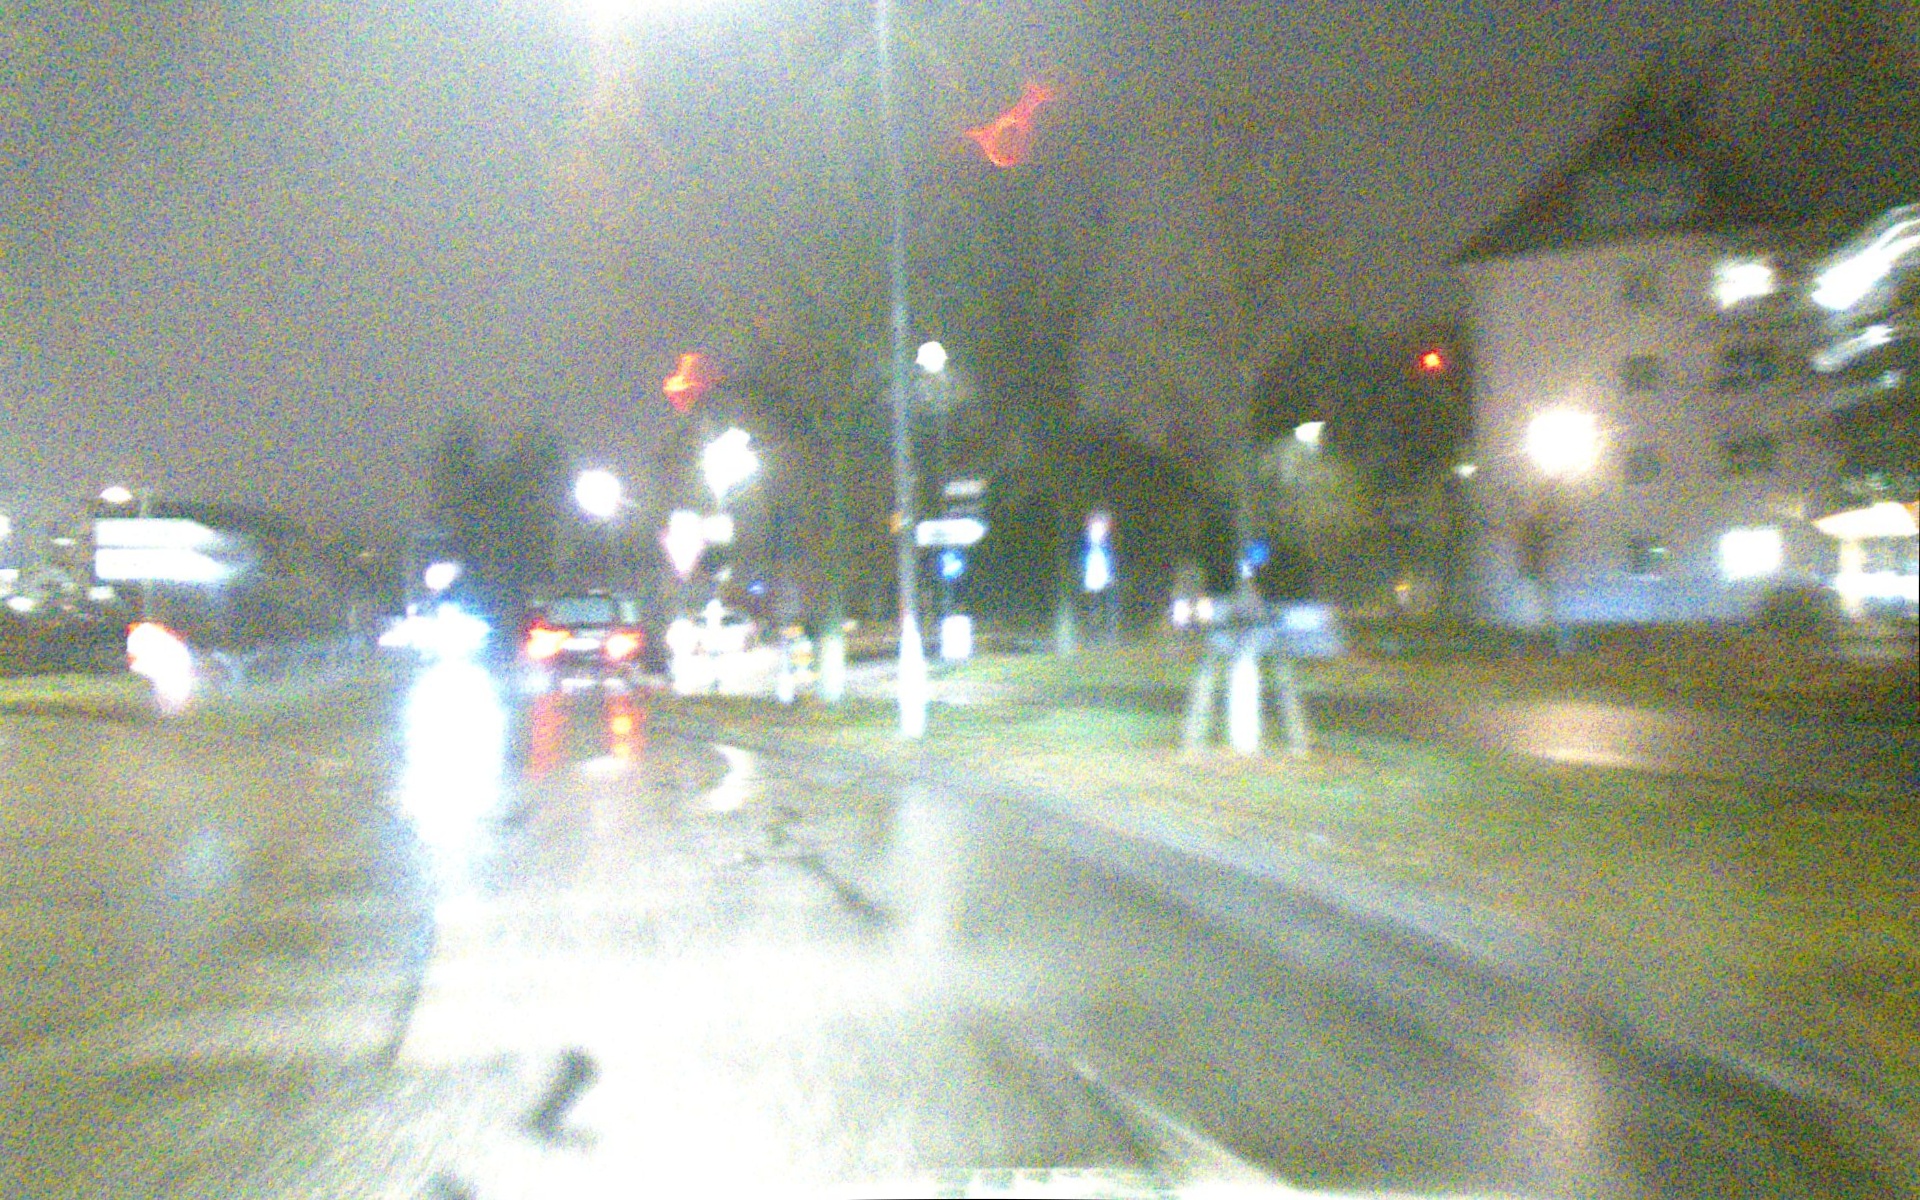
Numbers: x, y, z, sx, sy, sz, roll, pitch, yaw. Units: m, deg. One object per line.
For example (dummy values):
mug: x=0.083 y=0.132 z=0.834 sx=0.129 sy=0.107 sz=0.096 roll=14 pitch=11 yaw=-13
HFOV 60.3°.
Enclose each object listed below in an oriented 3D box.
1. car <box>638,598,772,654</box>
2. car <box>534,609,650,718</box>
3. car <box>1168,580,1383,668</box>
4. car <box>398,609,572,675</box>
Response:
car: x=-8.536 y=0.833 z=55.691 sx=1.842 sy=1.789 sz=4.373 roll=0 pitch=0 yaw=39
car: x=-7.638 y=1.251 z=34.728 sx=1.956 sy=2.049 sz=4.550 roll=0 pitch=0 yaw=-7
car: x=6.450 y=0.454 z=33.945 sx=3.925 sy=1.713 sz=1.909 roll=0 pitch=0 yaw=40
car: x=-13.888 y=1.197 z=48.563 sx=1.965 sy=1.766 sz=4.592 roll=0 pitch=1 yaw=42
